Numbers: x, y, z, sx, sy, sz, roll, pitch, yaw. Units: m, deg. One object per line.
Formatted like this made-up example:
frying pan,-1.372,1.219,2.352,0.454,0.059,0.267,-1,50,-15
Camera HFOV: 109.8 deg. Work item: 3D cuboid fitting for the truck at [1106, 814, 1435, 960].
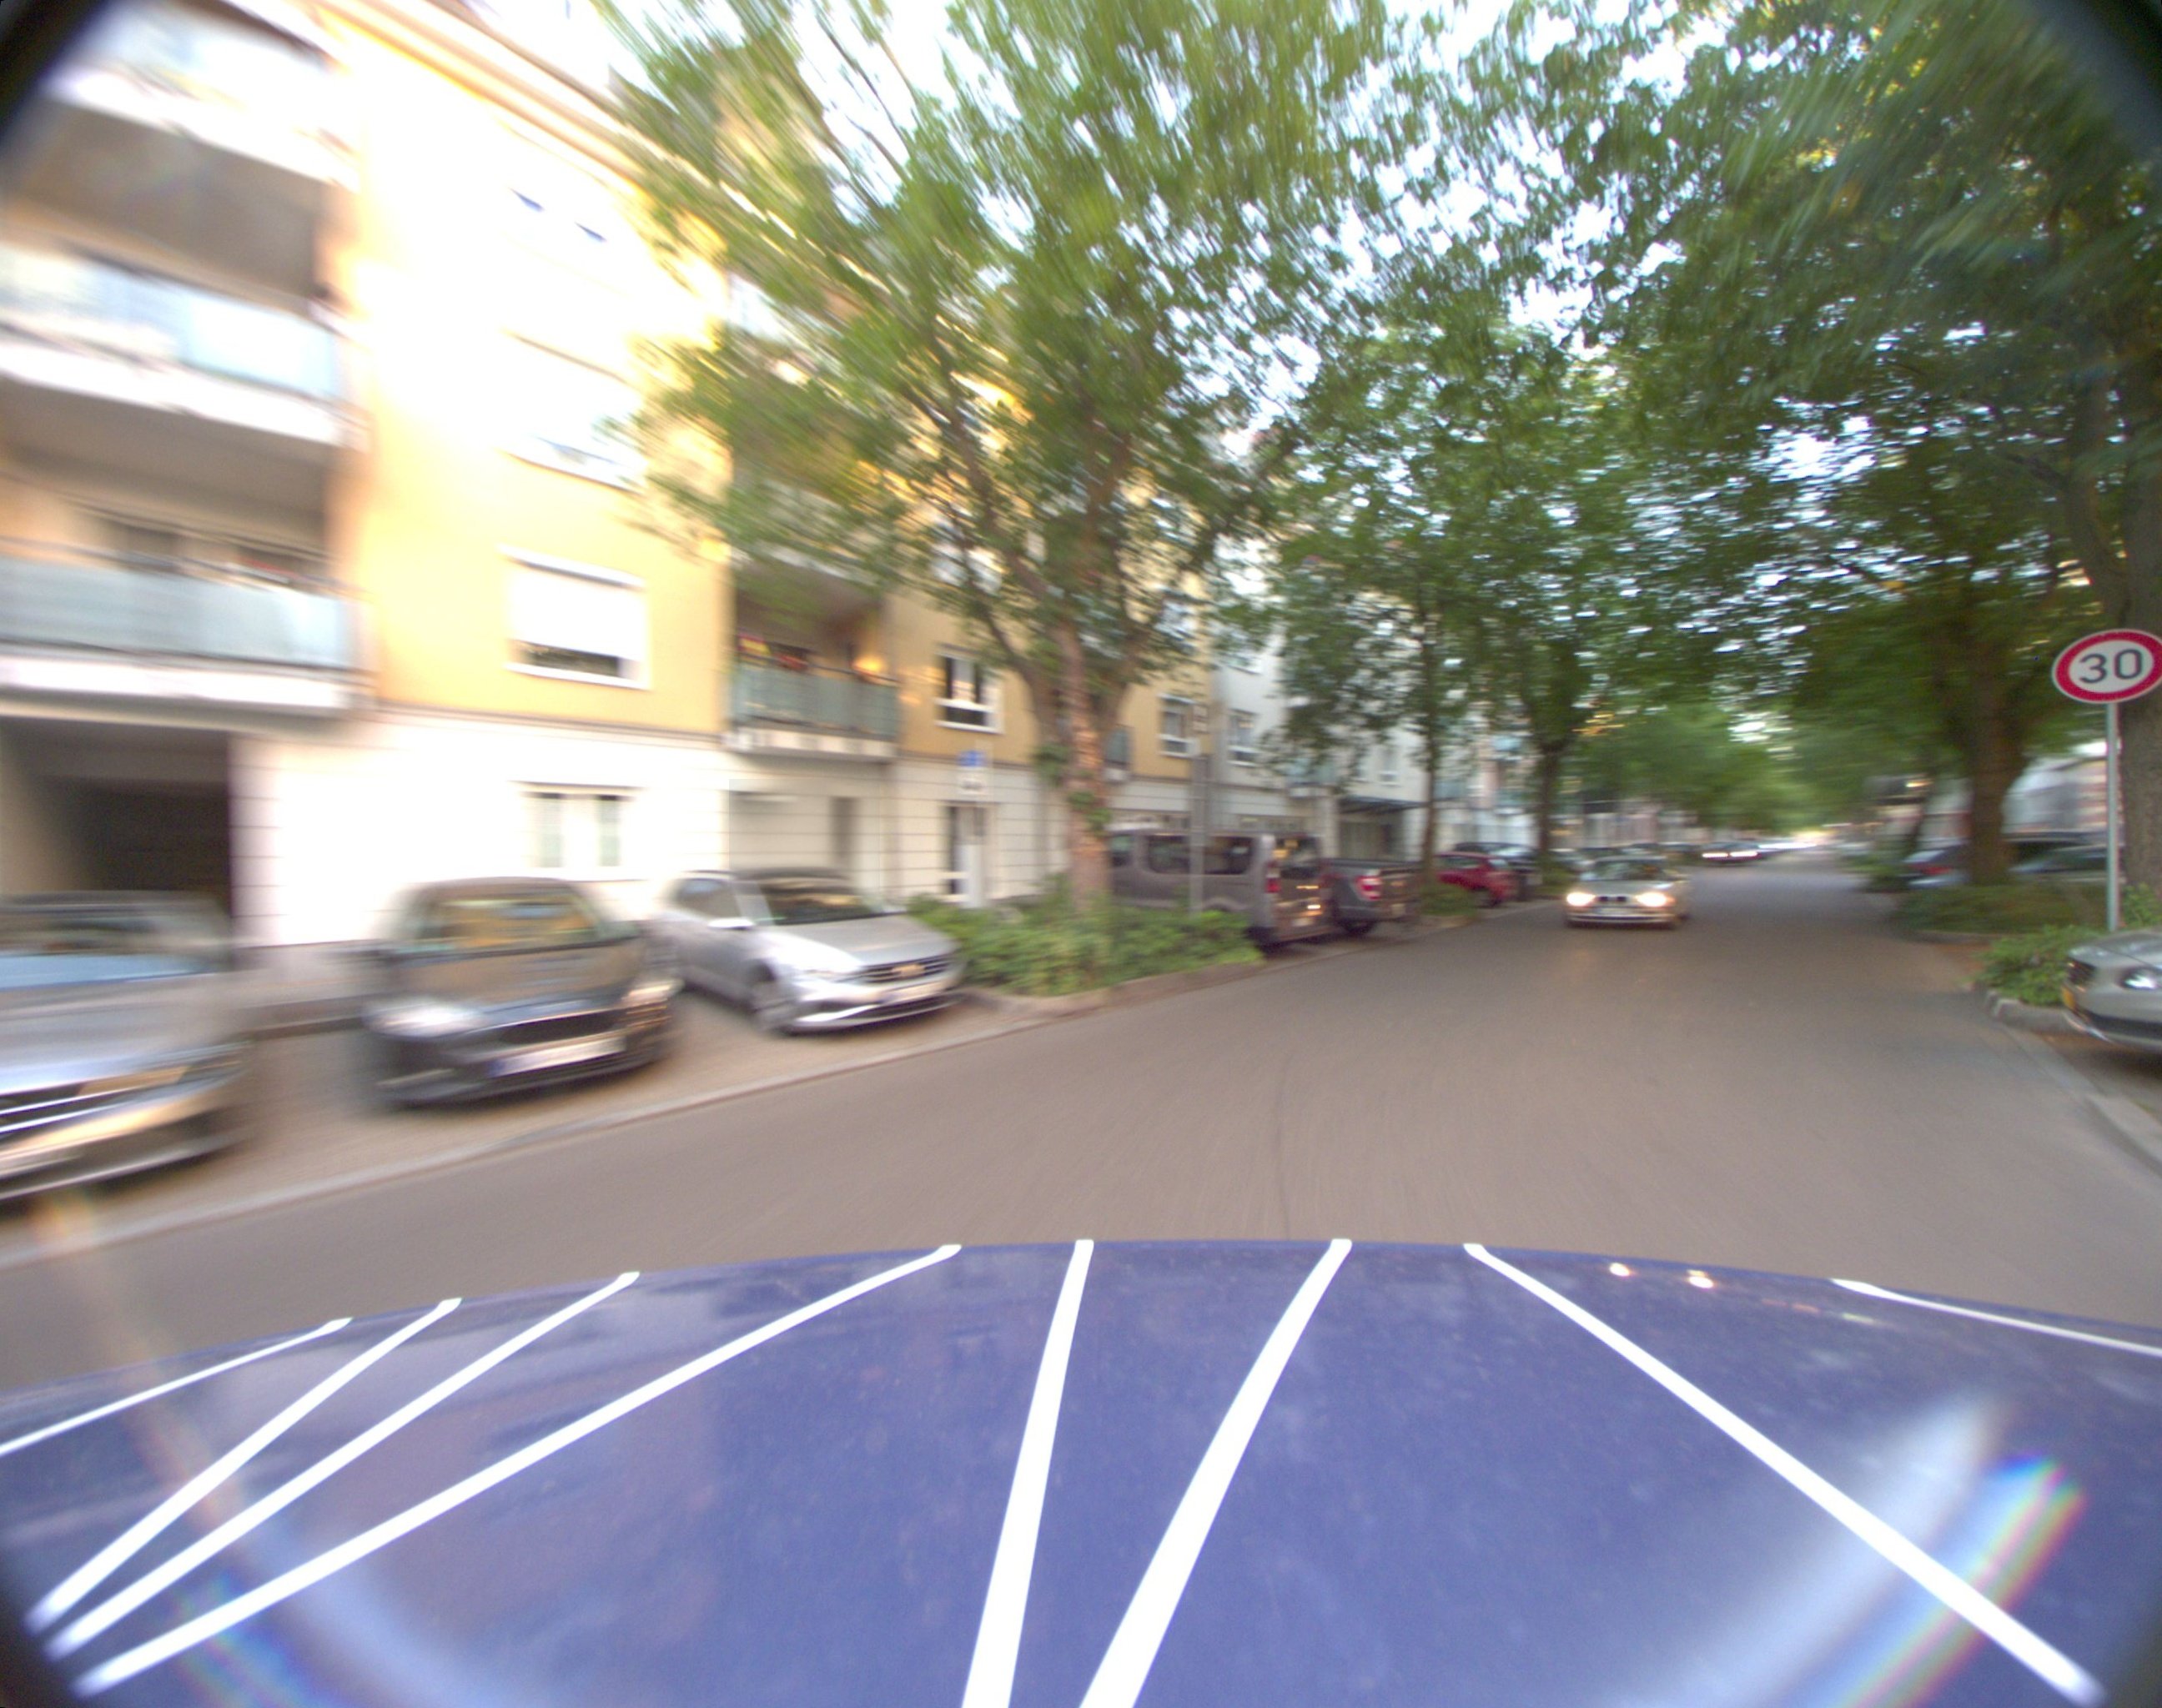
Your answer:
truck,3.437,0.547,14.847,5.890,2.297,2.217,-1,0,45

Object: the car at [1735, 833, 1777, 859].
car,51.812,-0.602,58.302,4.008,1.838,1.995,-1,-1,-42

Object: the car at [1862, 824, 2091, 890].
car,28.338,0.114,24.334,4.507,1.944,2.004,-1,0,42

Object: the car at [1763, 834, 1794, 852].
car,74.504,-1.141,81.128,4.008,1.838,1.995,-1,-1,-42

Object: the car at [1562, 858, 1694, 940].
car,11.136,0.801,15.337,1.733,1.363,4.341,-1,0,41

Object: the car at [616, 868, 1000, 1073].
car,-3.170,0.963,8.265,4.623,1.494,1.965,0,1,42

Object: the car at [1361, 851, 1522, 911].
car,10.282,0.735,21.798,3.778,1.535,1.881,-2,0,43

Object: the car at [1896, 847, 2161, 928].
car,19.261,0.619,14.944,4.289,1.421,1.883,-1,0,44

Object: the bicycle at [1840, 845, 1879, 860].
bicycle,44.439,-0.082,43.386,0.614,0.826,1.553,-2,0,-43

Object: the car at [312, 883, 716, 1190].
car,-5.026,1.062,6.435,1.995,1.511,4.785,-2,0,-45

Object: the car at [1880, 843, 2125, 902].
car,24.666,0.471,20.615,3.989,1.455,1.926,-1,0,42

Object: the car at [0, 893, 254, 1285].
car,-6.518,1.099,4.541,4.624,1.562,2.015,-2,0,44

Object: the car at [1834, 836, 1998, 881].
car,35.251,0.209,32.281,4.507,1.761,2.004,-1,0,42

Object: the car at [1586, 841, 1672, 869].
car,33.398,0.009,46.364,3.969,1.577,1.920,3,3,43

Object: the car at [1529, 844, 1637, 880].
car,23.793,0.339,36.073,4.083,1.443,1.939,3,3,38

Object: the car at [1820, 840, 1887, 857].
car,75.417,-0.532,74.286,4.511,1.517,1.875,-1,0,44

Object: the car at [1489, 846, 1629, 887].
car,19.767,0.456,31.572,4.600,1.460,1.800,3,3,43

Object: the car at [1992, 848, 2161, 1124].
car,8.187,0.718,3.720,2.079,1.543,4.621,-2,0,-44

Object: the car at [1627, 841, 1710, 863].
car,42.896,-0.199,55.541,2.015,1.419,4.459,-1,3,-42

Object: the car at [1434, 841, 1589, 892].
car,15.871,0.388,28.123,4.642,1.609,2.014,3,3,40

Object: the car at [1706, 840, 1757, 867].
car,41.190,-0.041,48.094,4.008,1.635,1.889,-1,-1,-42

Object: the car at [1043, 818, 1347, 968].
car,1.770,0.538,12.787,4.602,2.054,2.202,0,1,43

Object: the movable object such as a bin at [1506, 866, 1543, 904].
movable object such as a bin,13.181,0.909,22.567,0.761,1.078,0.787,2,2,45

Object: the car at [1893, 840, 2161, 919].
car,21.139,0.515,16.990,1.933,1.556,3.989,-1,0,-41

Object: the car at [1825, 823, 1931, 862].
car,55.421,-0.782,53.023,5.005,2.558,2.125,-1,0,44

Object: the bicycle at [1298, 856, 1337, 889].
bicycle,7.873,0.602,25.260,0.424,1.031,1.886,1,2,44
